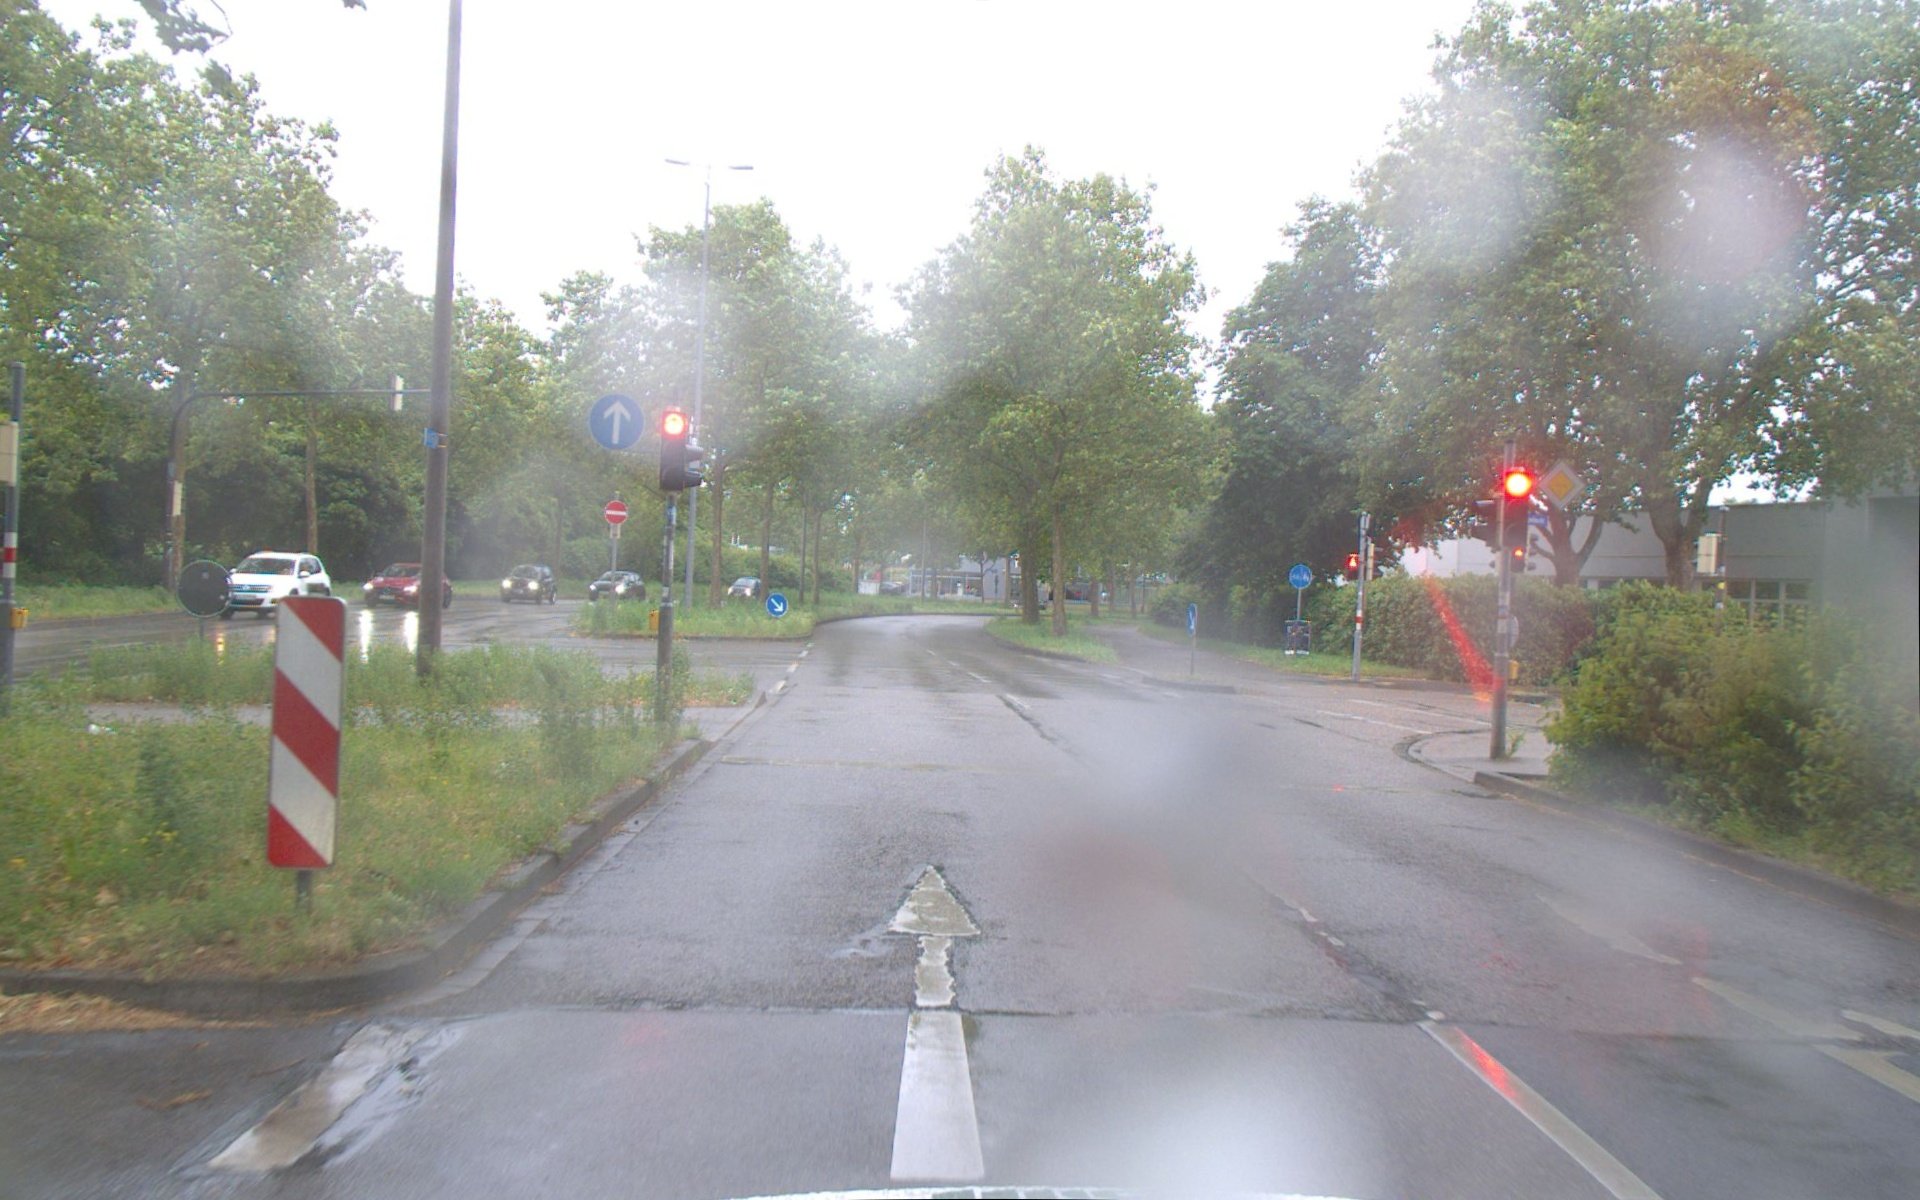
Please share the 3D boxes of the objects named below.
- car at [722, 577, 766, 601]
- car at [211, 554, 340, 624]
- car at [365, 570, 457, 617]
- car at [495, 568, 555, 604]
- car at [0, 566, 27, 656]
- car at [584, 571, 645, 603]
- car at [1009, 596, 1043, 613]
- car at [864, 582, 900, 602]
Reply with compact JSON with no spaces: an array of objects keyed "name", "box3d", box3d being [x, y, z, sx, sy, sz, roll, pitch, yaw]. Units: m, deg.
[{"name":"car","box3d":[-13.057,-0.639,100.017,1.553,1.396,4.265,2,0,7]},{"name":"car","box3d":[-17.642,-0.292,42.828,1.709,1.660,4.441,2,0,-4]},{"name":"car","box3d":[-17.949,-0.219,54.245,1.709,1.432,4.442,2,0,-3]},{"name":"car","box3d":[-17.906,-0.557,68.224,1.555,1.396,3.333,2,0,0]},{"name":"car","box3d":[-16.445,0.212,25.712,1.710,1.464,4.440,2,2,-6]},{"name":"car","box3d":[-16.413,-0.599,78.826,1.553,1.396,4.265,2,0,6]},{"name":"car","box3d":[5.987,0.413,149.014,1.961,1.477,4.995,2,0,15]},{"name":"car","box3d":[-9.255,-0.943,196.620,3.916,2.049,1.994,3,-1,-12]}]
